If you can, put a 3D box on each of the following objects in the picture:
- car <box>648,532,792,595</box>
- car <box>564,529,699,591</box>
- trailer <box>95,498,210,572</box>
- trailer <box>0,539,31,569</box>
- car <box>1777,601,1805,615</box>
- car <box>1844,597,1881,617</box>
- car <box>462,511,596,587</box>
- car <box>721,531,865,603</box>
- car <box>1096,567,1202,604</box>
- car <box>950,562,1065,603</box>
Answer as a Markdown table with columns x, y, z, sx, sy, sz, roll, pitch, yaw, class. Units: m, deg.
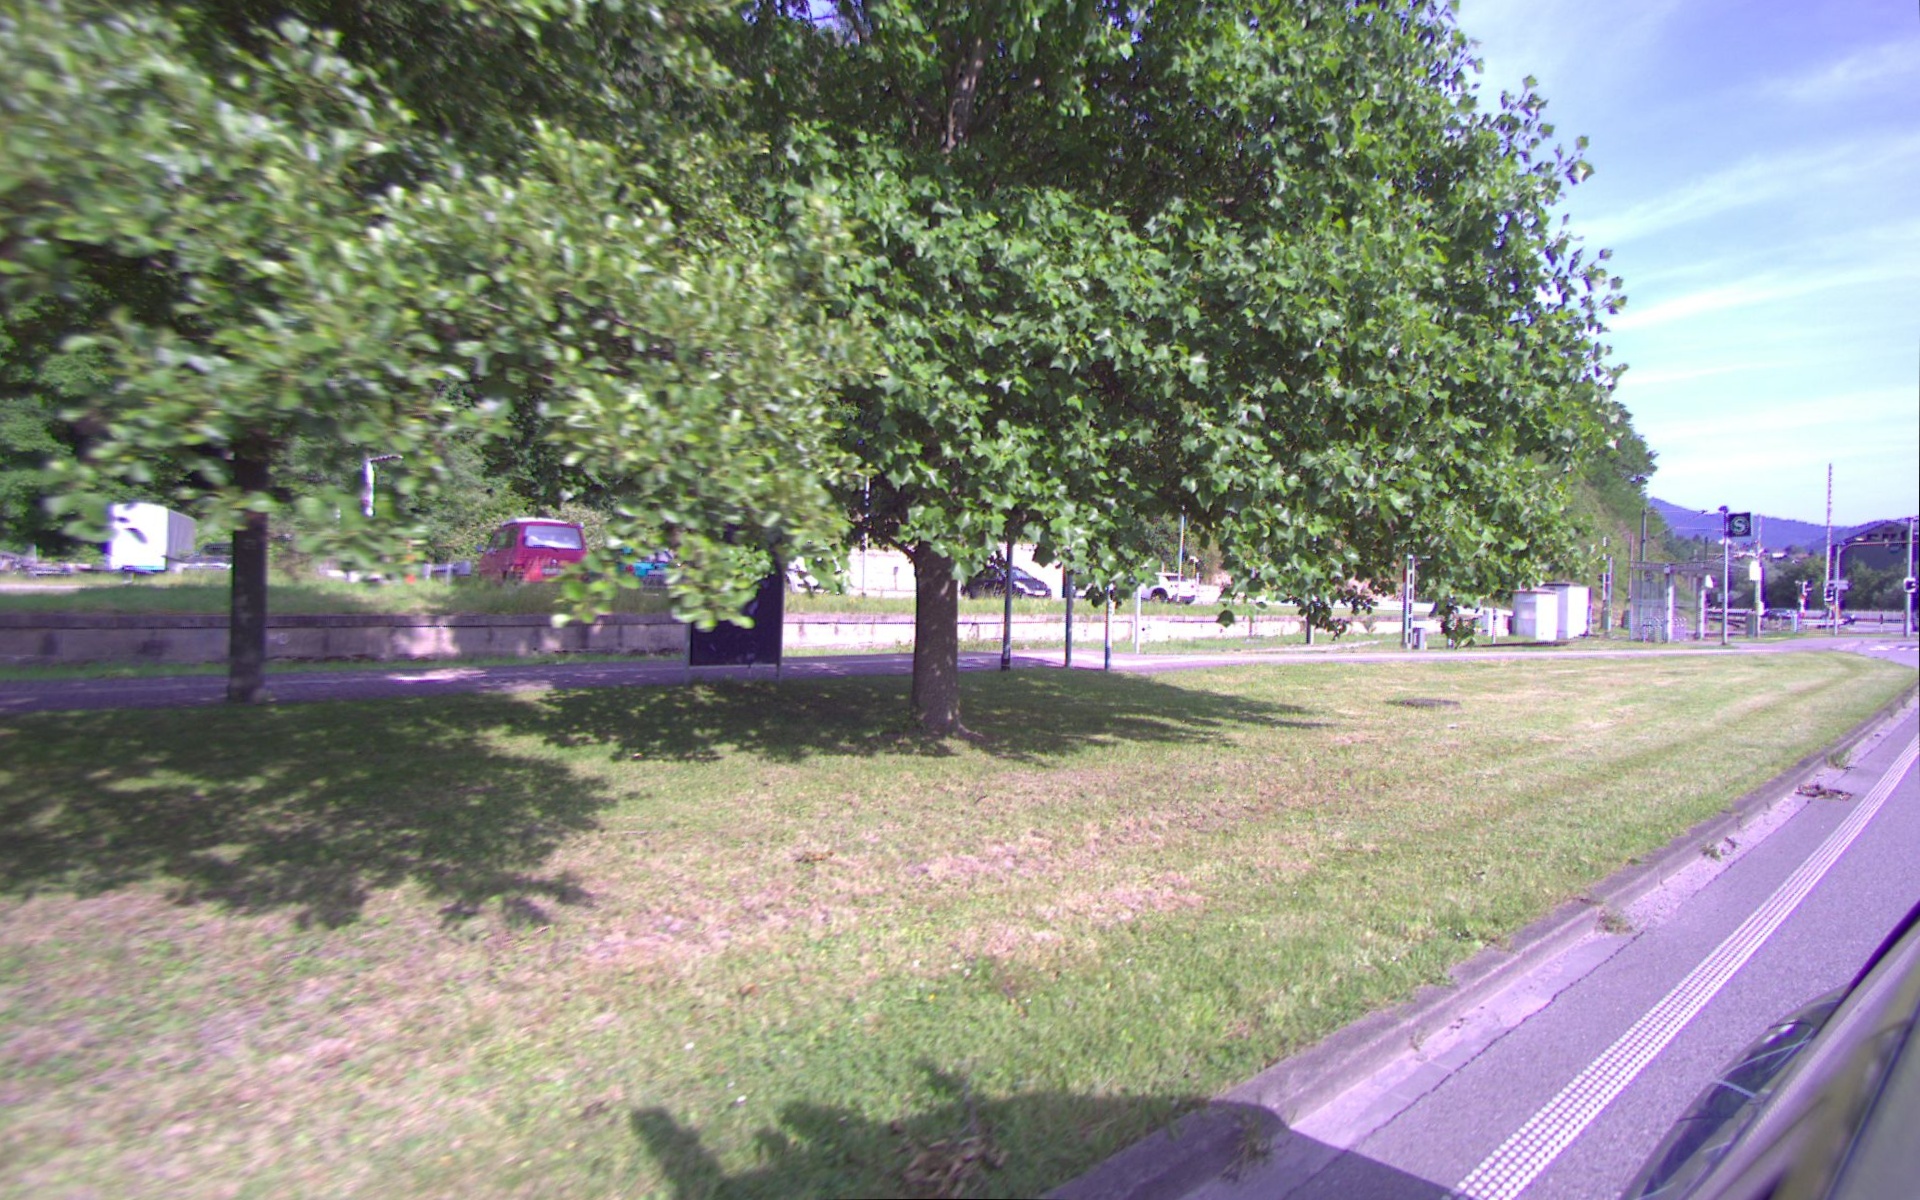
| x | y | z | sx | sy | sz | roll | pitch | yaw | class |
| --- | --- | --- | --- | --- | --- | --- | --- | --- | --- |
| -6.946 | -0.974 | 28.865 | 2.102 | 1.607 | 4.963 | 1 | 0 | -38 | car |
| -8.977 | -1.012 | 27.371 | 1.861 | 1.487 | 4.963 | 1 | 0 | -38 | car |
| -25.942 | -2.024 | 32.666 | 1.780 | 2.217 | 3.713 | 1 | 1 | -20 | trailer |
| -31.099 | -1.461 | 31.811 | 1.701 | 0.926 | 3.079 | 1 | 1 | -20 | trailer |
| 94.940 | 0.896 | 115.633 | 1.863 | 1.478 | 3.689 | 2 | 2 | 31 | car |
| 84.823 | 0.655 | 95.204 | 1.985 | 1.816 | 3.953 | 1 | 0 | 33 | car |
| -11.078 | -1.204 | 25.787 | 1.901 | 1.712 | 4.963 | 1 | 0 | -38 | car |
| -5.091 | -0.941 | 30.317 | 2.102 | 1.968 | 4.963 | 1 | 0 | -38 | car |
| 7.701 | -0.577 | 41.543 | 1.776 | 1.416 | 4.106 | 1 | 0 | -38 | car |
| 1.651 | -0.615 | 36.594 | 1.798 | 1.360 | 4.275 | 1 | 0 | -38 | car |
